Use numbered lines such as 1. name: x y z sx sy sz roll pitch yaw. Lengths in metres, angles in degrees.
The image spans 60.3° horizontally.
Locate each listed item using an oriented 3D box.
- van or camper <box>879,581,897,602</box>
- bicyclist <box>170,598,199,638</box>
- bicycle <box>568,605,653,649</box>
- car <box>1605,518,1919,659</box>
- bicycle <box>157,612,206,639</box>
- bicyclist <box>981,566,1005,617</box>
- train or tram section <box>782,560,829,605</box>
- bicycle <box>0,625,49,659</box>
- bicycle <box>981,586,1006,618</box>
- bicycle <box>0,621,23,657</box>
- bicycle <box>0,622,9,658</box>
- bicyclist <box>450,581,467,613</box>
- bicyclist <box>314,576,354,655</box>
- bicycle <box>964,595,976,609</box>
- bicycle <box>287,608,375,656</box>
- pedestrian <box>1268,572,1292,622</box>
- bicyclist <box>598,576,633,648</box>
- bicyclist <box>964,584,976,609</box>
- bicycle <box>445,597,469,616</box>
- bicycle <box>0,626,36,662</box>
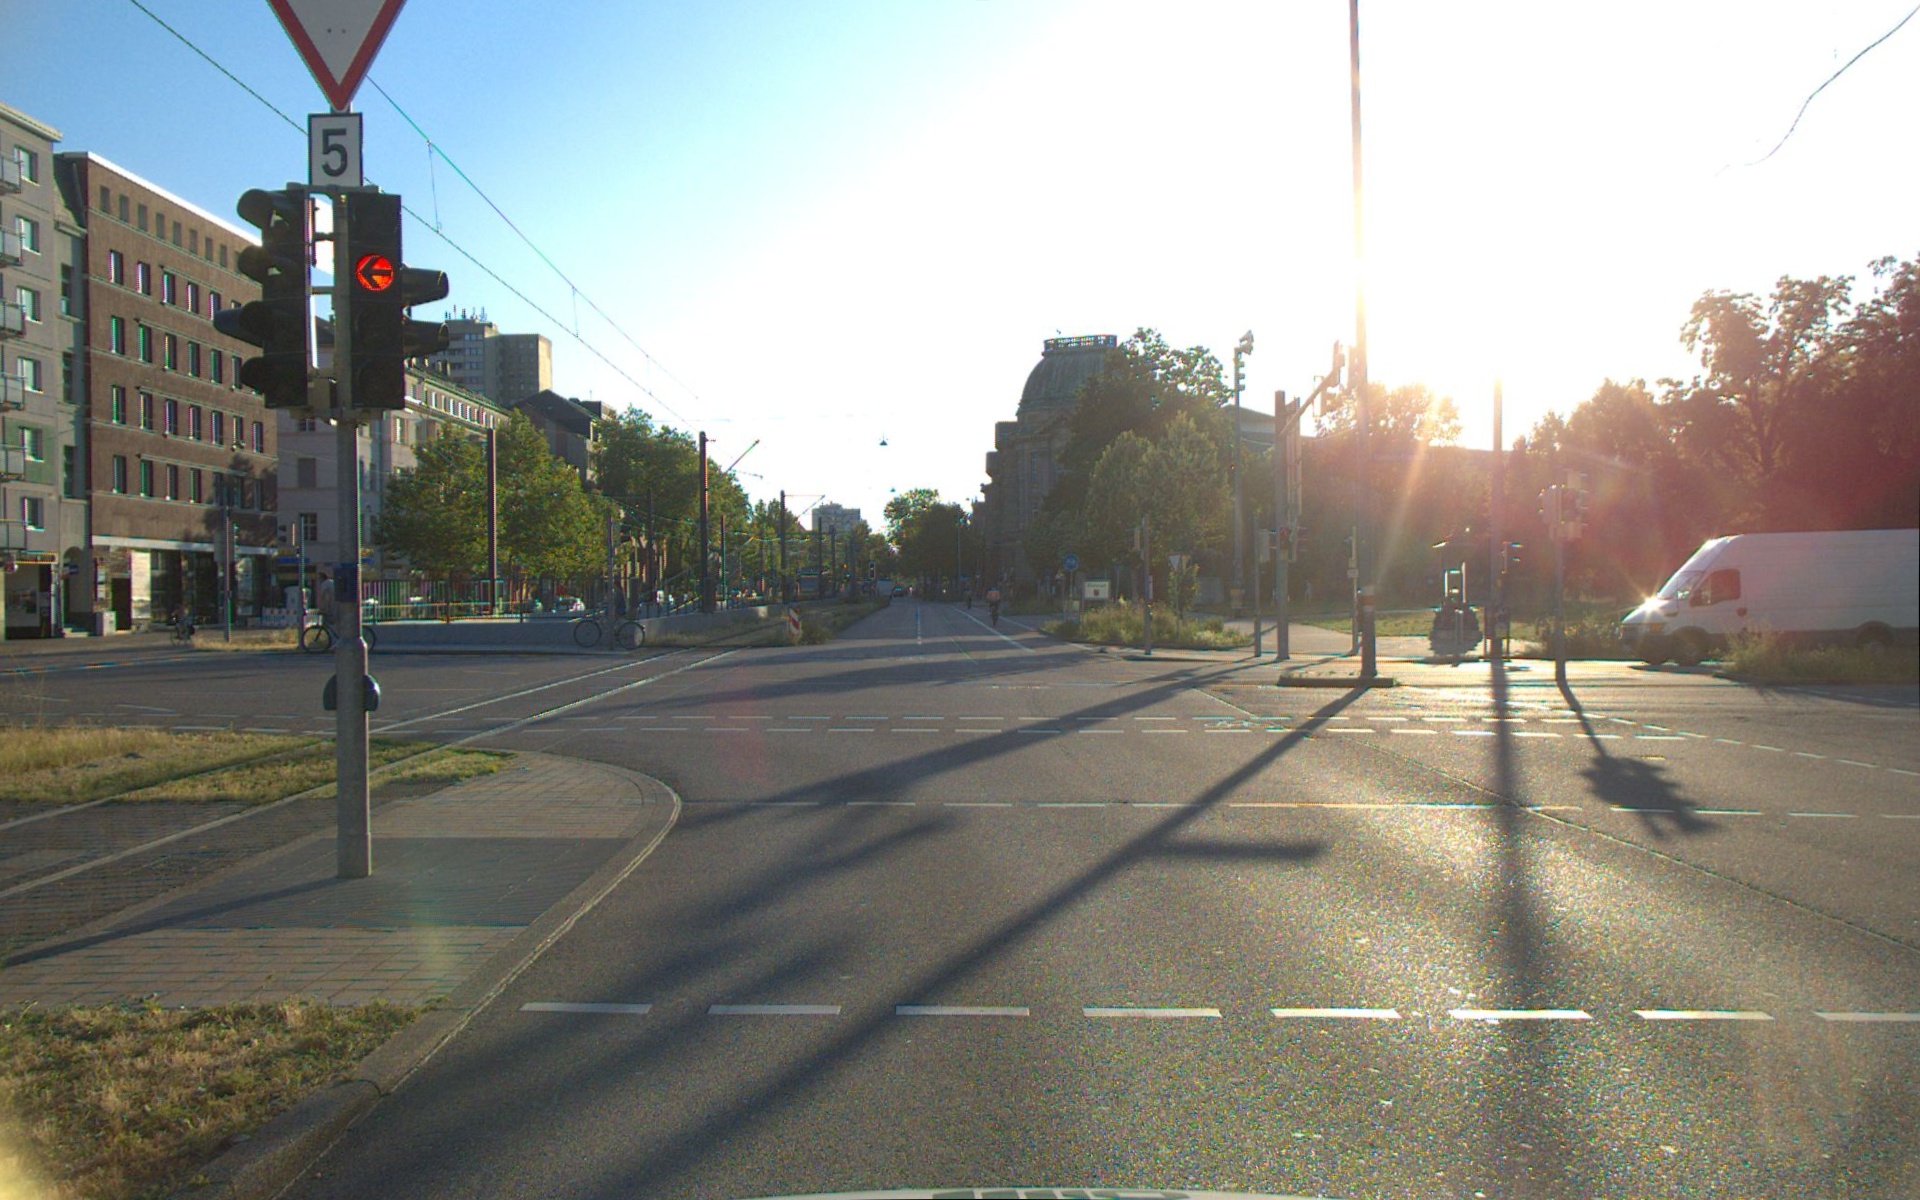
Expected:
1. van or camper: -9.895 -1.177 226.005 2.400 2.819 5.598 -1 0 -3
2. bicyclist: -28.543 0.662 60.893 0.489 1.451 0.857 -1 0 25
3. bicycle: -9.021 0.694 42.737 2.126 1.102 0.537 0 -1 -13
4. car: 17.799 -0.252 35.753 6.866 2.877 2.093 -1 0 1
5. bicycle: -28.599 0.920 60.771 0.498 0.961 1.667 -1 0 25
6. bicyclist: 1.532 -0.386 76.107 1.060 2.316 0.986 0 0 -1
7. train or tram section: -14.824 -1.753 159.729 4.301 3.916 11.401 -1 2 -5
8. bicycle: -32.845 1.470 57.737 1.655 1.164 0.697 -1 0 1
9. bicycle: 1.534 0.076 76.227 1.075 1.423 2.831 -1 0 -1
10. bicycle: -32.910 1.337 56.230 1.655 1.199 0.748 -1 0 1
11. bicycle: -32.922 1.353 55.473 1.655 1.173 0.705 -1 0 1
12. bicyclist: -32.797 -0.196 108.226 0.780 2.049 0.924 -1 0 1
13. bicyclist: -14.835 0.355 39.204 0.779 1.850 0.644 -1 0 -13
14. bicycle: 0.834 0.186 136.569 0.905 1.131 2.332 -1 0 -1
15. bicycle: -14.891 0.752 39.194 1.869 1.094 0.630 -1 0 -15
16. pedestrian: 12.110 -0.115 62.580 0.815 1.835 0.811 -1 0 14
17. bicyclist: -8.909 0.301 42.768 0.861 1.850 0.536 0 0 -13
18. bicyclist: 0.832 -0.286 136.628 0.907 2.049 0.850 0 0 -1
19. bicycle: -32.830 0.427 108.013 0.796 1.222 2.413 -1 0 2
20. bicycle: -32.874 1.516 57.005 1.655 1.190 0.748 -1 0 1
